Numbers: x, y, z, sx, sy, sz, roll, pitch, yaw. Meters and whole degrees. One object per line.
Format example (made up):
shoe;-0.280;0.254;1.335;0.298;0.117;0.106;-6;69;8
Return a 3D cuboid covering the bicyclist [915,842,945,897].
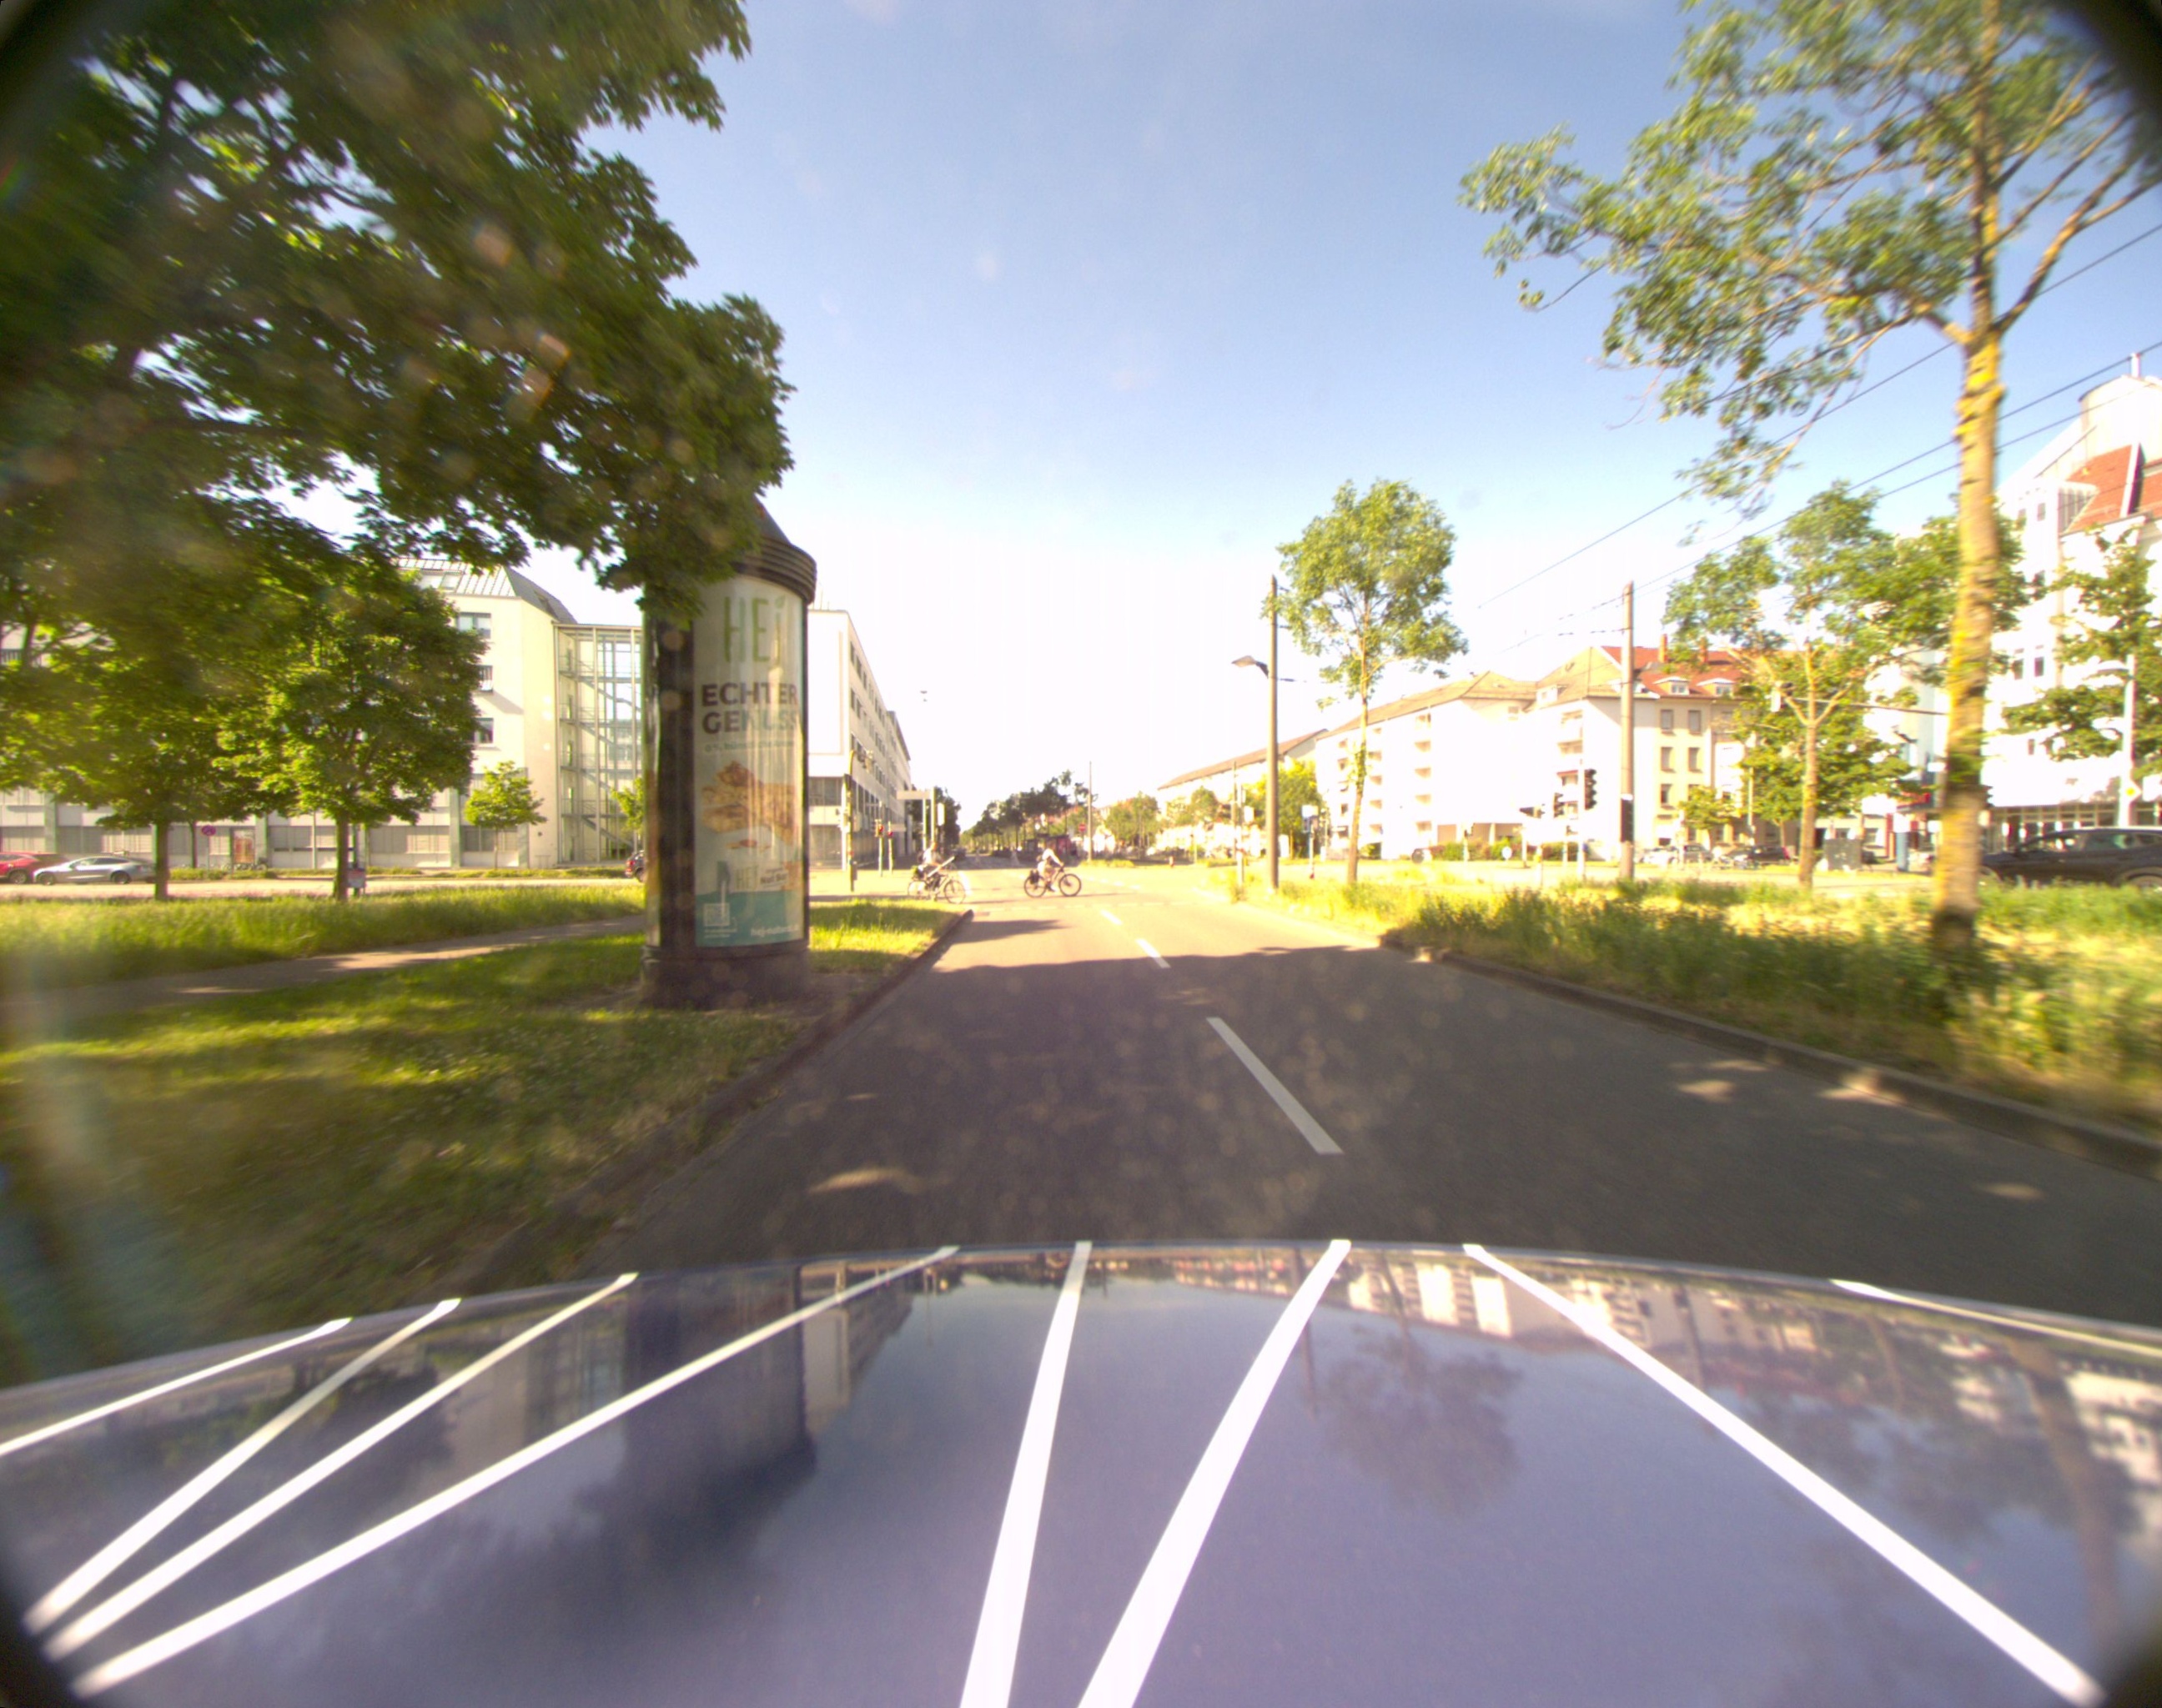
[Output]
bicyclist;-4.427;0.445;22.291;0.715;1.591;0.849;0;1;-3

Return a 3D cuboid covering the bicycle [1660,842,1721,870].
bicycle;29.689;0.092;37.010;2.579;1.302;0.662;-1;1;-6

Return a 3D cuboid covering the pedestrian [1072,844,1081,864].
pedestrian;-0.360;0.031;64.061;0.732;1.687;0.735;-1;1;-4

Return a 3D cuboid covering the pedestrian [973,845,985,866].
pedestrian;-8.496;0.137;63.427;0.882;1.687;0.735;-1;1;-4

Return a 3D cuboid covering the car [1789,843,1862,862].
car;53.296;-0.109;54.419;4.090;1.303;1.701;-1;1;-11

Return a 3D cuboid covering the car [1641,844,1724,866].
car;41.588;0.044;52.612;4.190;1.457;2.332;-1;1;-11

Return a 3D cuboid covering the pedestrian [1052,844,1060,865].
pedestrian;-2.028;0.020;61.863;0.641;1.687;0.608;-1;1;-8

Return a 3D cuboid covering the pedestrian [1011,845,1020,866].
pedestrian;-5.337;0.096;61.916;0.732;1.687;0.735;-1;1;-4

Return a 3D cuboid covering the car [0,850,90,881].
car;-55.055;0.595;39.345;4.289;1.585;1.917;-1;1;-13

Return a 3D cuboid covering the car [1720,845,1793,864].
car;47.585;0.002;53.554;4.090;1.303;1.701;-1;1;-11

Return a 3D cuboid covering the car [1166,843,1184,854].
car;14.954;-0.870;121.429;1.694;1.700;4.237;-1;1;-10

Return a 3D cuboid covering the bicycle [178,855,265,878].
bicycle;-51.316;0.719;45.402;3.535;1.340;0.989;-1;1;-10

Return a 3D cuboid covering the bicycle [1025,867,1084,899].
bicycle;-0.844;0.909;24.122;1.828;0.958;0.816;0;1;-3

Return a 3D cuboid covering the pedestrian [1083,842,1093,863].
pedestrian;0.577;-0.109;60.540;0.723;1.687;0.608;-1;1;-4

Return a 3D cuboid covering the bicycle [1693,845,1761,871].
bicycle;29.783;0.192;35.040;2.579;1.152;0.783;0;1;-6

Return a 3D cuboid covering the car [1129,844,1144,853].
car;10.728;-1.120;146.931;1.834;1.700;4.237;-1;1;-10

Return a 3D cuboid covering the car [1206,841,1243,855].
car;17.718;-0.722;93.611;4.231;1.700;1.696;0;1;21

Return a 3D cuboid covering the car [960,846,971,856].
car;-19.621;-0.572;129.024;1.694;1.700;4.237;-1;1;-10

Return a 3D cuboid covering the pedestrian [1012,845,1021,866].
pedestrian;-5.306;0.117;62.845;0.732;1.687;0.735;-1;1;-4

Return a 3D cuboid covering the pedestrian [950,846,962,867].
pedestrian;-10.101;0.230;61.335;0.731;1.687;0.736;0;1;12

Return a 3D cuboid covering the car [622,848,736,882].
car;-20.115;0.516;38.201;4.631;1.613;1.998;-1;2;-8

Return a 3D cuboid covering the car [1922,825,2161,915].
car;20.298;0.268;15.209;1.824;1.631;4.487;0;1;-3

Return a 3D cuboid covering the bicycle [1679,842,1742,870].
bicycle;29.774;0.099;35.958;2.579;1.302;0.662;-1;1;-6

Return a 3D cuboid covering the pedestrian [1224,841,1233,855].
pedestrian;17.955;-0.730;92.507;0.786;1.701;0.703;-1;1;-10

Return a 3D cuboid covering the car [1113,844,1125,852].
car;8.059;-1.309;161.653;1.694;1.700;4.400;-1;1;-10

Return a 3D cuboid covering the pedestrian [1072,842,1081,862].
pedestrian;-0.414;-0.168;65.178;0.732;1.687;0.735;-1;1;-4

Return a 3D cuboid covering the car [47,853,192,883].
car;-48.778;0.695;38.635;4.289;1.412;1.917;-1;1;-13

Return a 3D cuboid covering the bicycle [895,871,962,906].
bicycle;-4.456;0.996;22.305;1.828;0.958;0.855;0;1;-3

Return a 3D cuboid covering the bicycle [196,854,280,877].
bicycle;-51.476;0.702;46.444;3.535;1.340;0.989;-1;1;-10

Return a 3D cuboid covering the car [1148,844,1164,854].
car;13.065;-0.869;131.777;1.694;1.700;4.237;-1;1;-10

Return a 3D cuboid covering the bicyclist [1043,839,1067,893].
bicyclist;-0.837;0.366;24.113;0.715;1.682;0.816;-1;1;-3

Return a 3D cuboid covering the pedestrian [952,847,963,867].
pedestrian;-10.418;0.257;64.147;0.731;1.687;0.736;0;1;12
